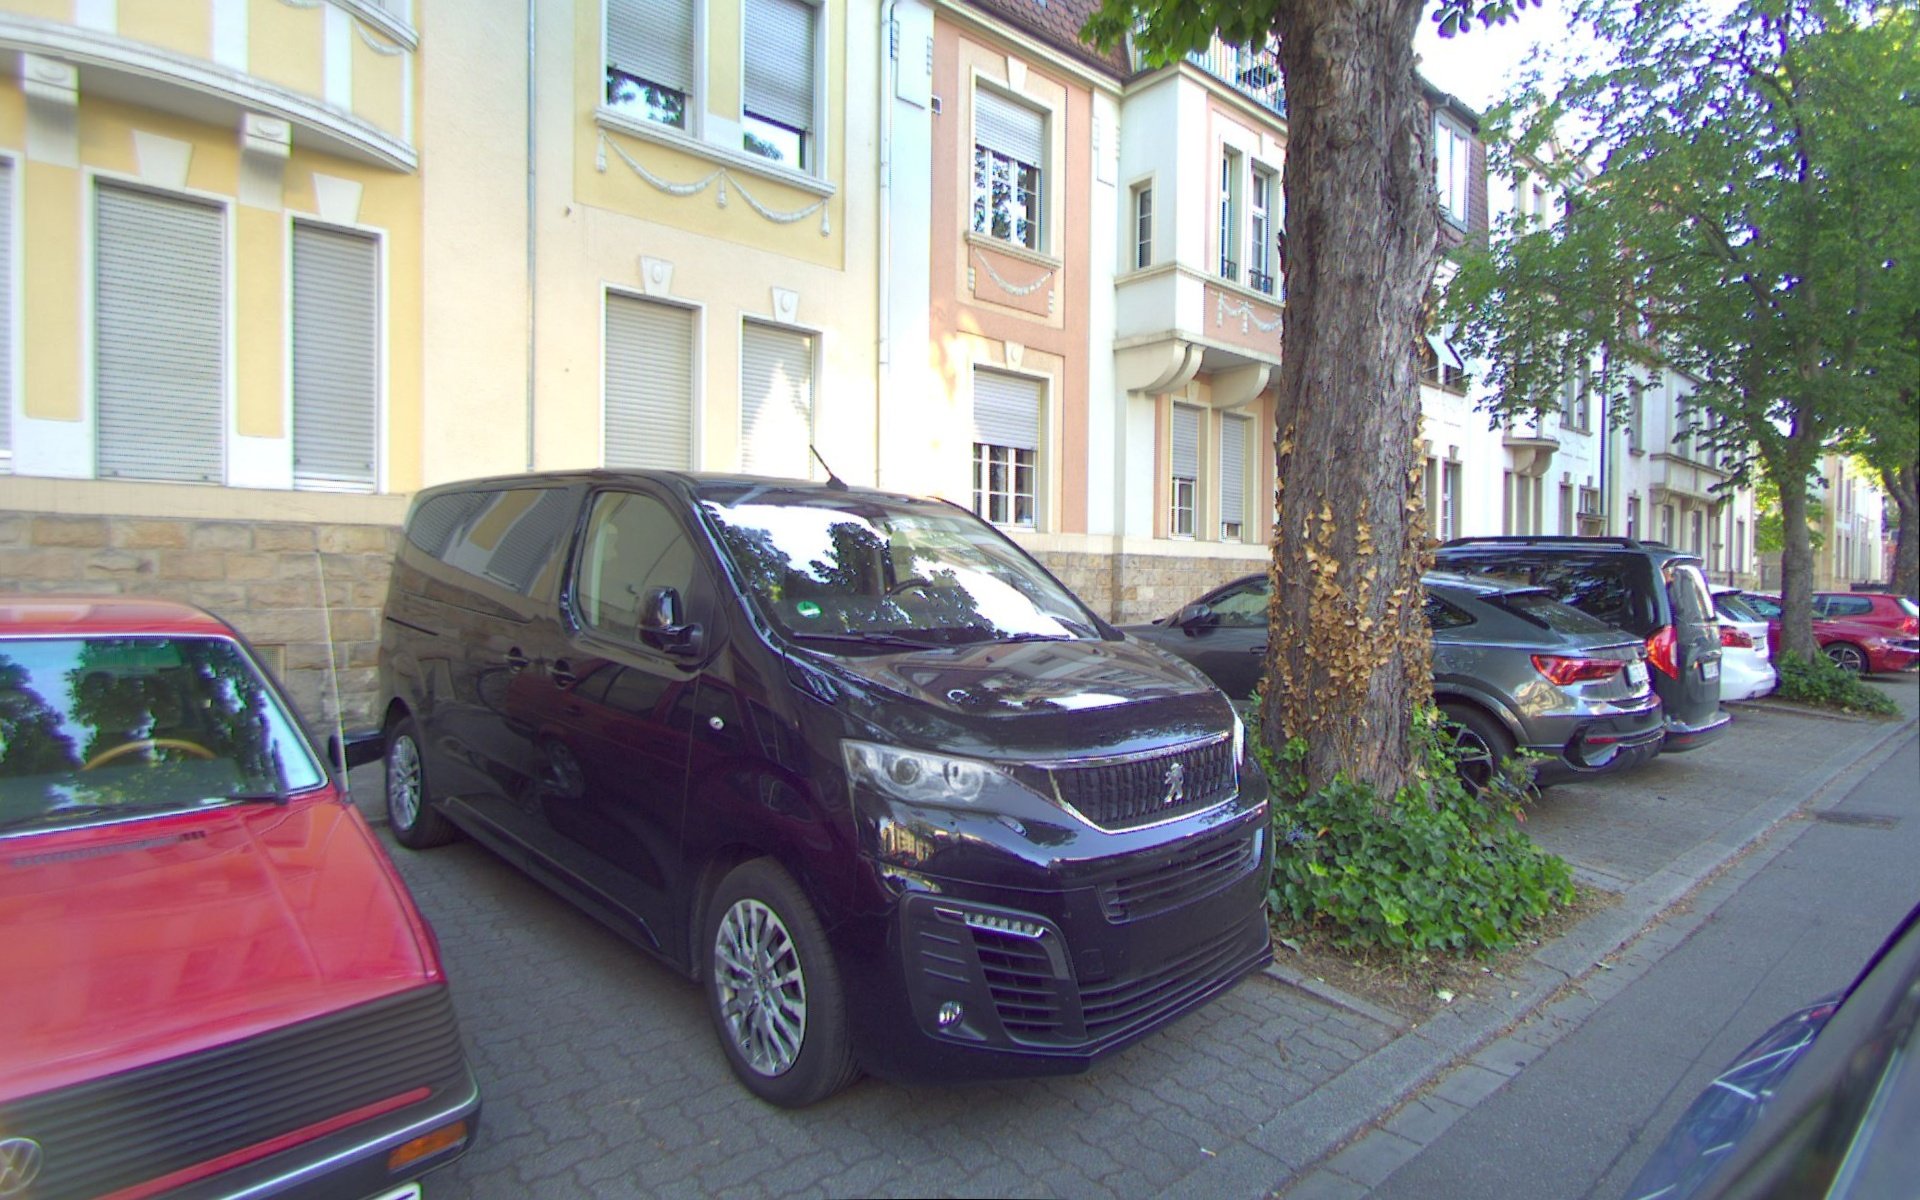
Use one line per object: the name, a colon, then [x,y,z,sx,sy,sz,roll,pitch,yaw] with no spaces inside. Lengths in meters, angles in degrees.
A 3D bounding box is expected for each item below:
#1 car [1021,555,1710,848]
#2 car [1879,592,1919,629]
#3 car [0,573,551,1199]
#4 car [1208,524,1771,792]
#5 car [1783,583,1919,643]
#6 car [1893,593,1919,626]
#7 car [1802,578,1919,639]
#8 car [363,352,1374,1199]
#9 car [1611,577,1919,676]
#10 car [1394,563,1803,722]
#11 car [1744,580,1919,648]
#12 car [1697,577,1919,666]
car: [2.749,0.464,7.699,1.815,1.542,4.513,-1,3,-44]
car: [31.900,0.380,32.466,1.515,1.164,3.399,0,3,-39]
car: [-2.869,0.631,3.032,1.603,1.332,4.139,-1,3,-44]
car: [4.524,0.310,9.143,1.814,1.860,4.116,-1,3,-42]
car: [24.010,0.320,26.410,1.548,1.416,3.681,0,3,-39]
car: [34.281,0.379,34.529,1.515,1.076,3.399,0,3,-39]
car: [25.875,0.232,28.030,1.548,1.576,3.681,0,3,-39]
car: [-0.933,0.328,4.472,1.867,1.897,4.753,-1,3,-44]
car: [14.791,0.384,18.461,1.833,1.470,4.533,0,3,-38]
car: [7.708,0.379,12.523,1.689,1.597,3.948,0,3,-41]
car: [21.858,0.298,24.972,1.548,1.484,3.681,0,3,-39]
car: [16.900,0.355,19.816,1.628,1.499,3.682,0,2,-38]
